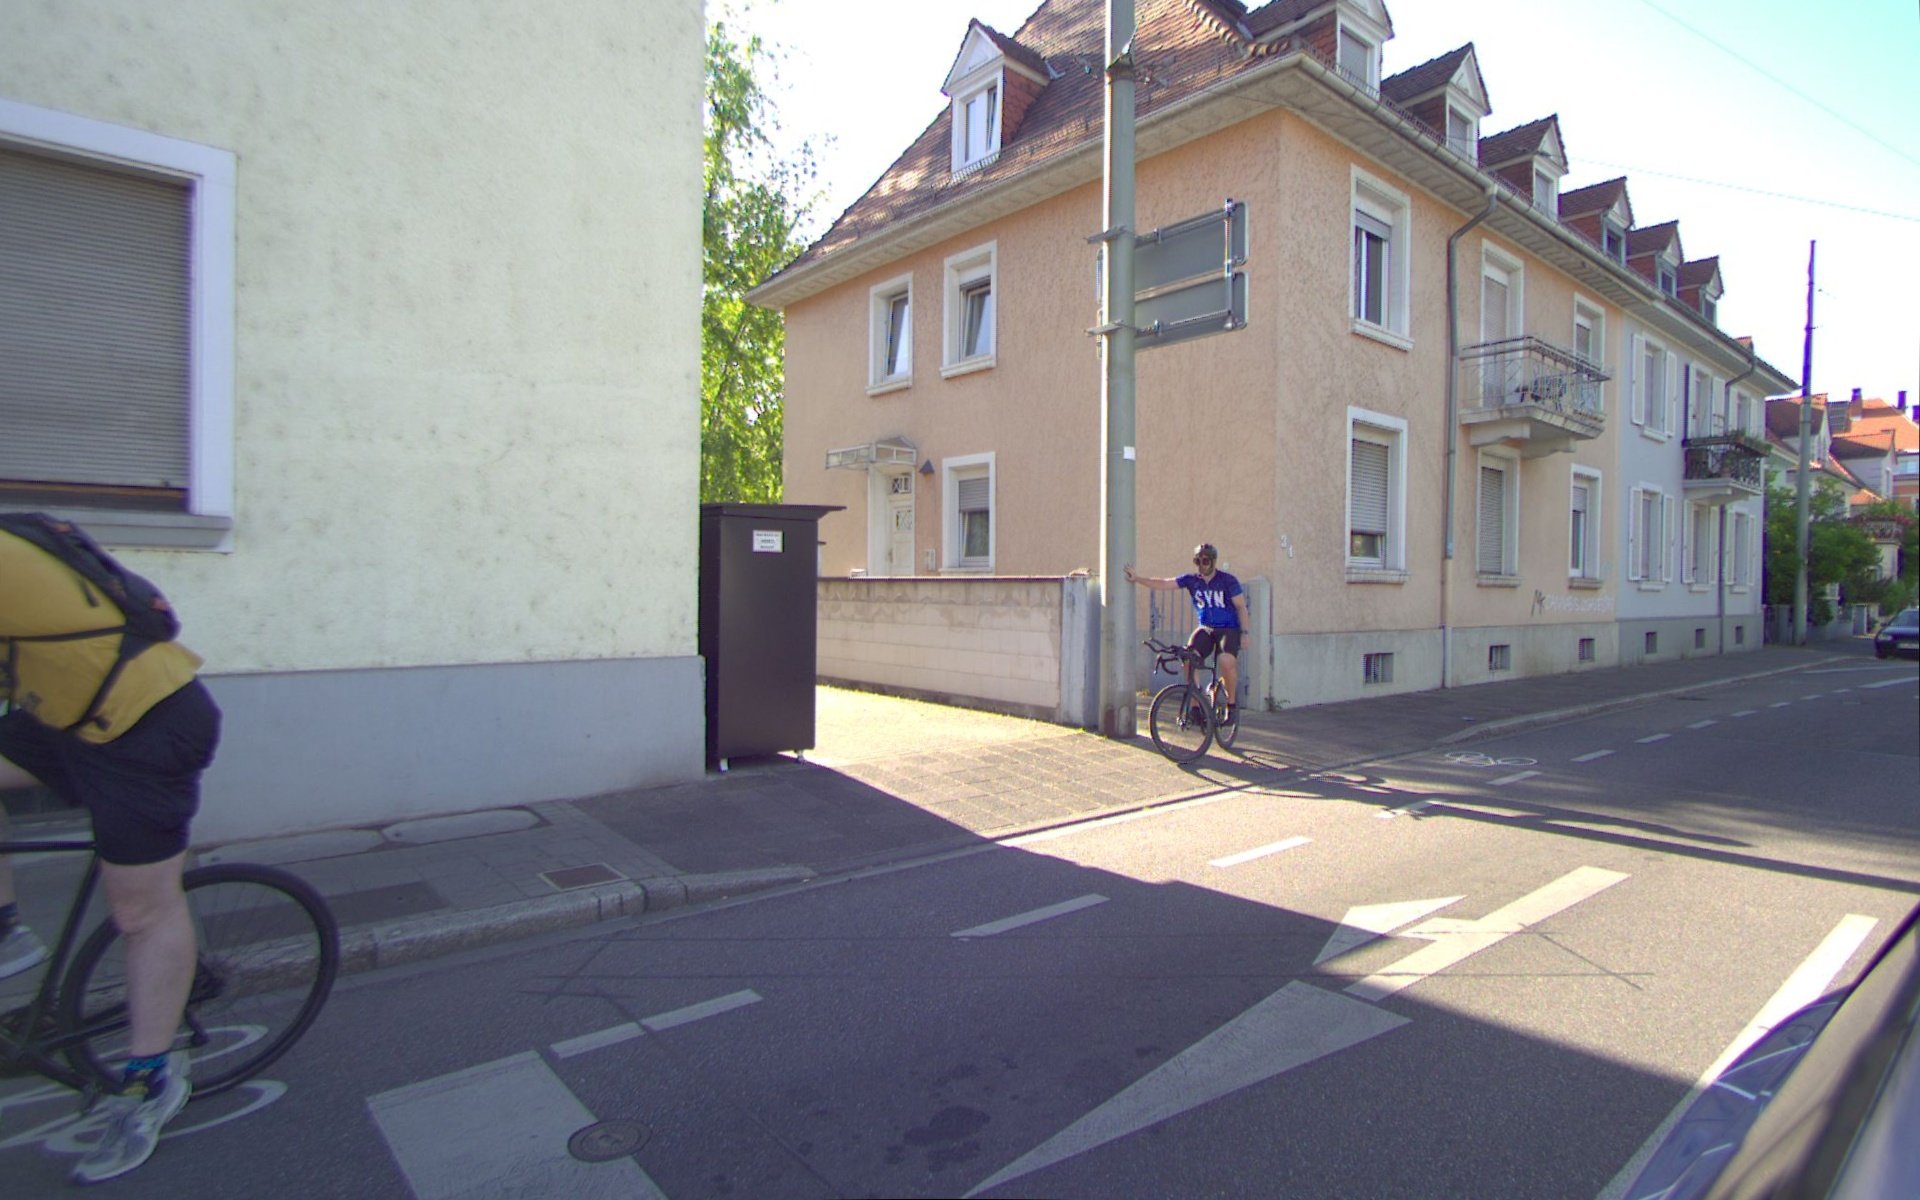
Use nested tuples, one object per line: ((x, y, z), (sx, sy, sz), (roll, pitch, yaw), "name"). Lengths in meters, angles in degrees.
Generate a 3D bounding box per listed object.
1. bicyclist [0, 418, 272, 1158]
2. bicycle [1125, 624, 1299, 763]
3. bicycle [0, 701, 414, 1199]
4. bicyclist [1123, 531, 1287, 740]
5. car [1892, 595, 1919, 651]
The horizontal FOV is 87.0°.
((-2.400, 0.438, 2.641), (0.939, 1.743, 0.582), (0, 1, -41), "bicyclist")
((2.315, 0.797, 9.188), (1.689, 1.064, 0.595), (0, 6, -41), "bicycle")
((-2.453, 0.899, 2.580), (1.778, 1.101, 0.611), (0, 1, -41), "bicycle")
((2.272, 0.285, 9.452), (0.838, 1.758, 1.072), (0, 6, -40), "bicyclist")
((26.657, 0.615, 27.326), (3.932, 1.438, 1.845), (0, 1, -42), "car")
